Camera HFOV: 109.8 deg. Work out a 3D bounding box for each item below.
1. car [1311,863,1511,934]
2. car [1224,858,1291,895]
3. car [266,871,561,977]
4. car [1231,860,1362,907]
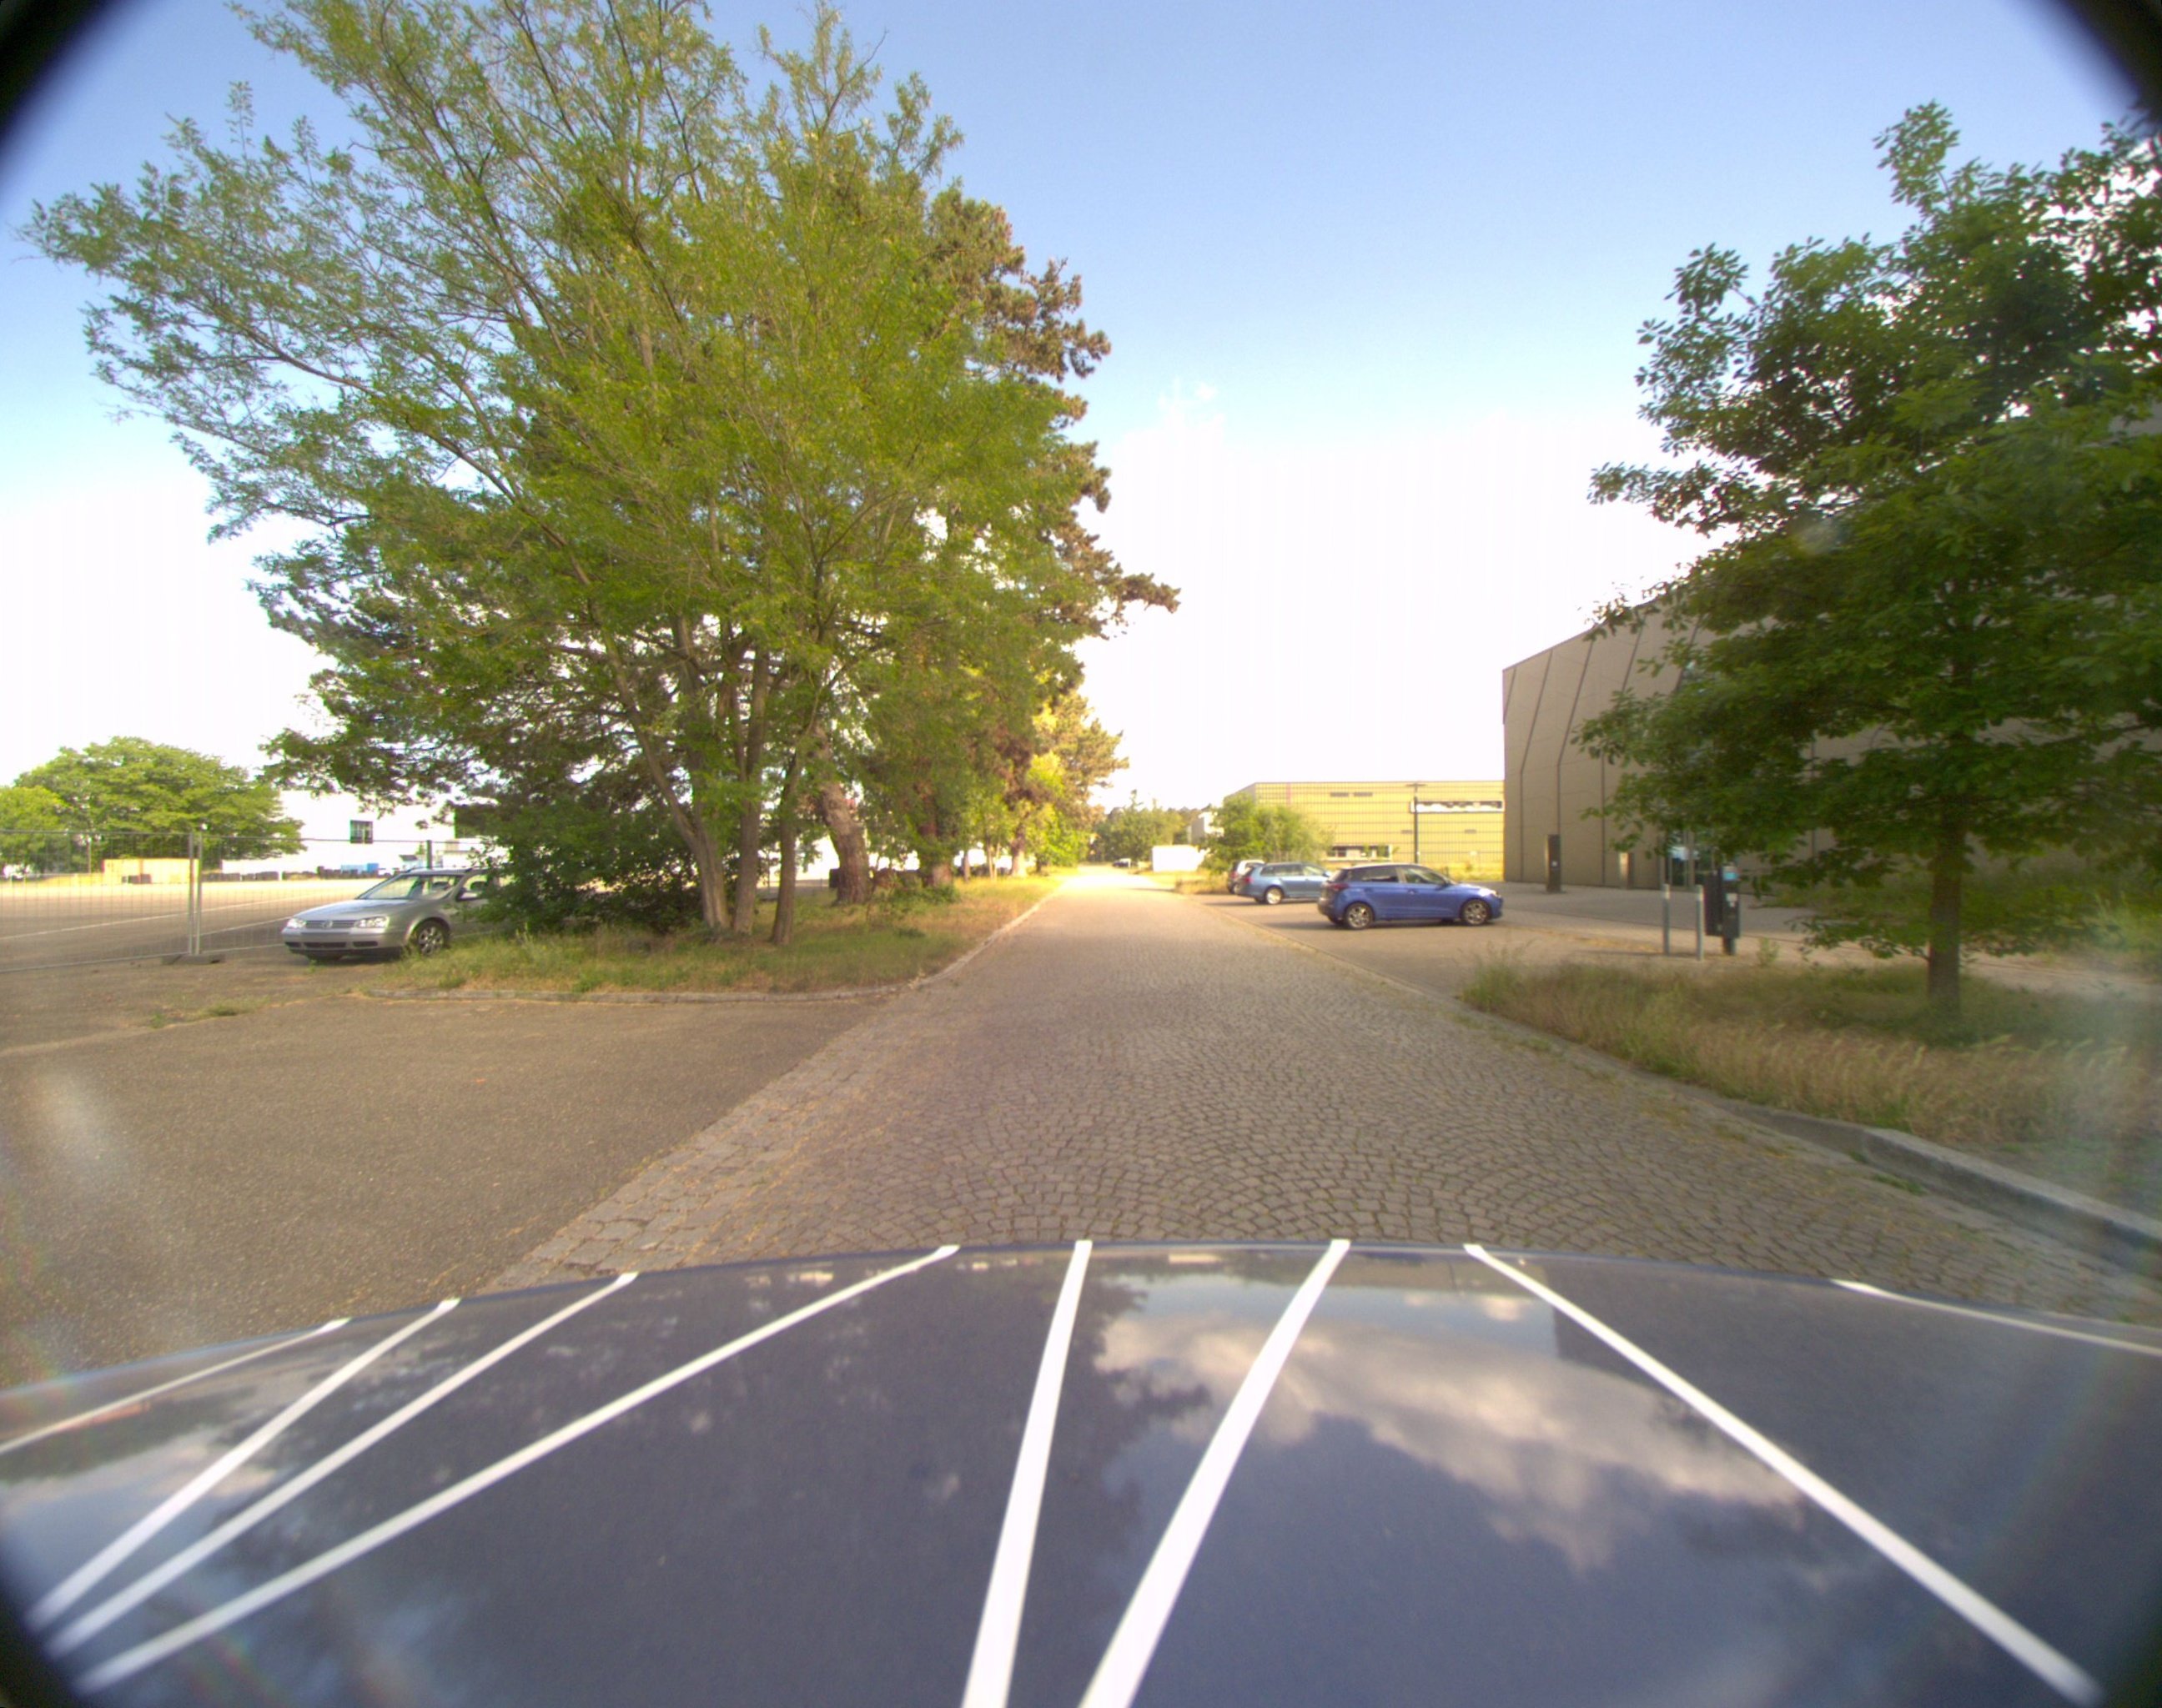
[{"bbox_3d":[7.587,1.013,17.765,3.917,1.459,1.735,-2,0,4],"label":"car"},{"bbox_3d":[8.019,1.007,34.607,2.652,1.559,1.482,-2,0,0],"label":"car"},{"bbox_3d":[-10.999,1.055,12.963,1.578,1.435,3.986,0,0,-2],"label":"car"},{"bbox_3d":[7.646,1.033,27.242,4.179,1.465,1.734,-2,0,-1],"label":"car"}]
